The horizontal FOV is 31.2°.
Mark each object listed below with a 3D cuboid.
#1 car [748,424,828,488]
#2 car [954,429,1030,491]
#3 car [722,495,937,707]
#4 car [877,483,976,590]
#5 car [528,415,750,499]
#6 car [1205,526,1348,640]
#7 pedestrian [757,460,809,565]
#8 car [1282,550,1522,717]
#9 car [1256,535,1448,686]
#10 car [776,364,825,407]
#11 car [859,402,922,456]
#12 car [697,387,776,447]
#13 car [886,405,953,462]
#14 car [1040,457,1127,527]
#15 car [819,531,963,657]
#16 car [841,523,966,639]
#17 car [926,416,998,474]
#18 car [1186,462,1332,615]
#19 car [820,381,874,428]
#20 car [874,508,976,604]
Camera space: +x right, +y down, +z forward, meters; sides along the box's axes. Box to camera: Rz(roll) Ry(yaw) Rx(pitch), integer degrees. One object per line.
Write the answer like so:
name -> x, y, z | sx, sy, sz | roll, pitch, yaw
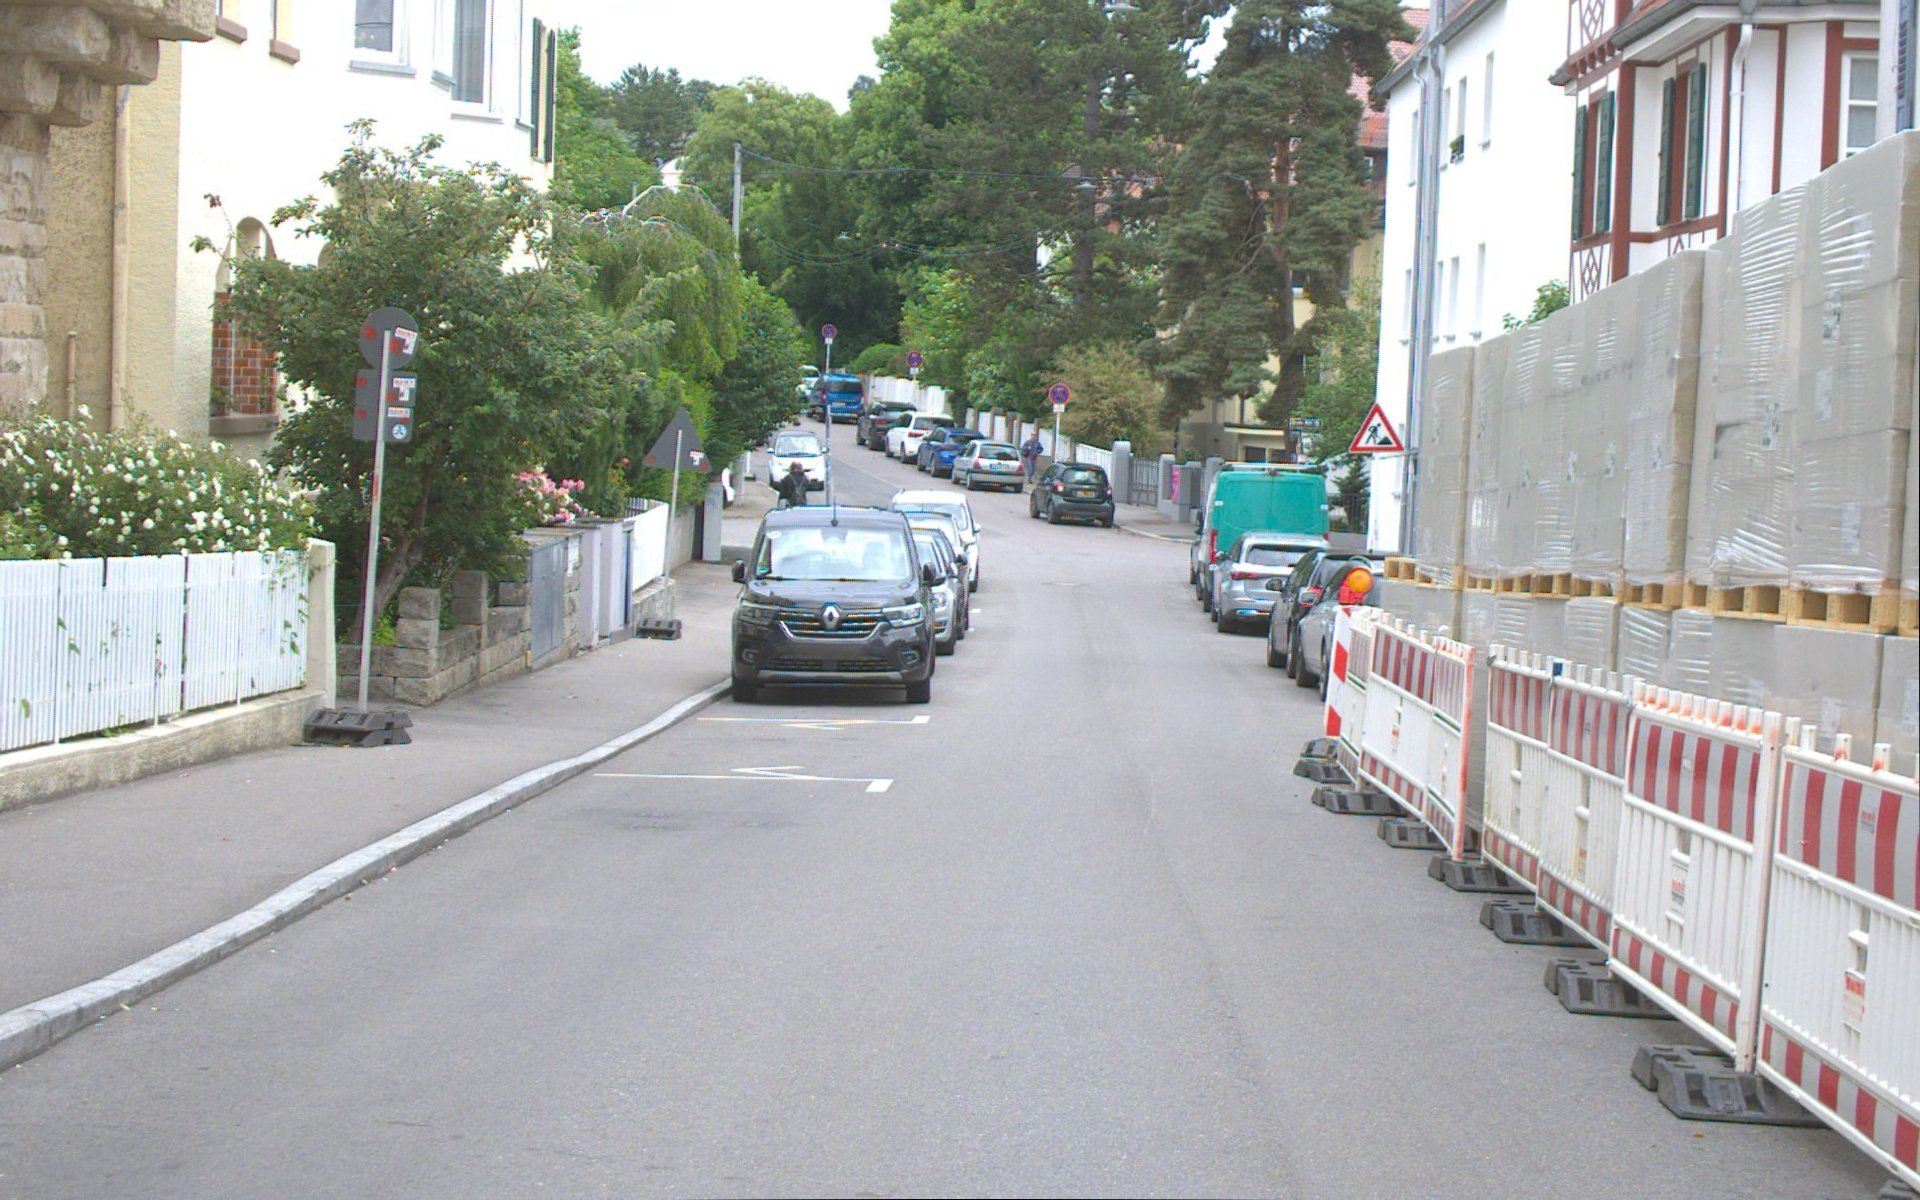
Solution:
car -> -4.869, -4.075, 96.845 | 1.672, 1.651, 3.865 | 0, 4, -12
car -> 0.896, -4.060, 99.474 | 1.634, 1.478, 3.532 | 3, 5, -8
car -> -1.208, -0.026, 32.360 | 1.845, 1.809, 4.545 | 1, 1, -2
car -> -0.570, -1.163, 61.180 | 1.672, 1.651, 3.864 | 1, 4, 0
car -> -7.229, -3.213, 77.720 | 1.999, 1.634, 4.800 | 5, 3, 43
car -> 4.618, -0.282, 50.627 | 1.725, 1.443, 3.881 | 2, 3, 0
pedestrian -> -3.346, -1.662, 65.027 | 0.791, 1.926, 0.919 | 3, 2, 4
car -> 4.420, 0.287, 35.020 | 1.819, 1.437, 4.451 | 3, 2, 0
car -> 4.437, 0.078, 39.374 | 1.689, 1.514, 3.881 | 3, 2, 0
car -> -6.527, -8.762, 140.554 | 1.634, 1.532, 3.532 | 3, 5, -8
car -> -2.355, -5.773, 115.826 | 1.634, 1.532, 3.532 | 3, 5, -8
car -> -7.533, -6.165, 115.521 | 1.903, 1.870, 4.598 | 0, 4, -13
car -> -1.302, -5.340, 109.956 | 1.634, 1.532, 3.532 | 3, 5, -8
car -> 3.127, -2.764, 87.472 | 1.634, 1.478, 3.532 | 3, 5, -6
car -> -0.814, -0.114, 42.365 | 1.642, 1.412, 3.984 | 1, 2, 0
car -> -0.742, -0.294, 47.374 | 1.596, 1.473, 3.991 | 1, 2, 0
car -> 0.056, -4.701, 103.902 | 1.634, 1.478, 3.532 | 3, 5, -8
car -> 4.926, -1.075, 57.198 | 1.980, 2.354, 4.277 | 2, 3, 0
car -> -4.302, -7.441, 130.433 | 1.634, 1.532, 3.532 | 3, 5, -8
car -> -0.551, -0.750, 56.931 | 1.596, 1.408, 3.663 | 1, 3, 0
